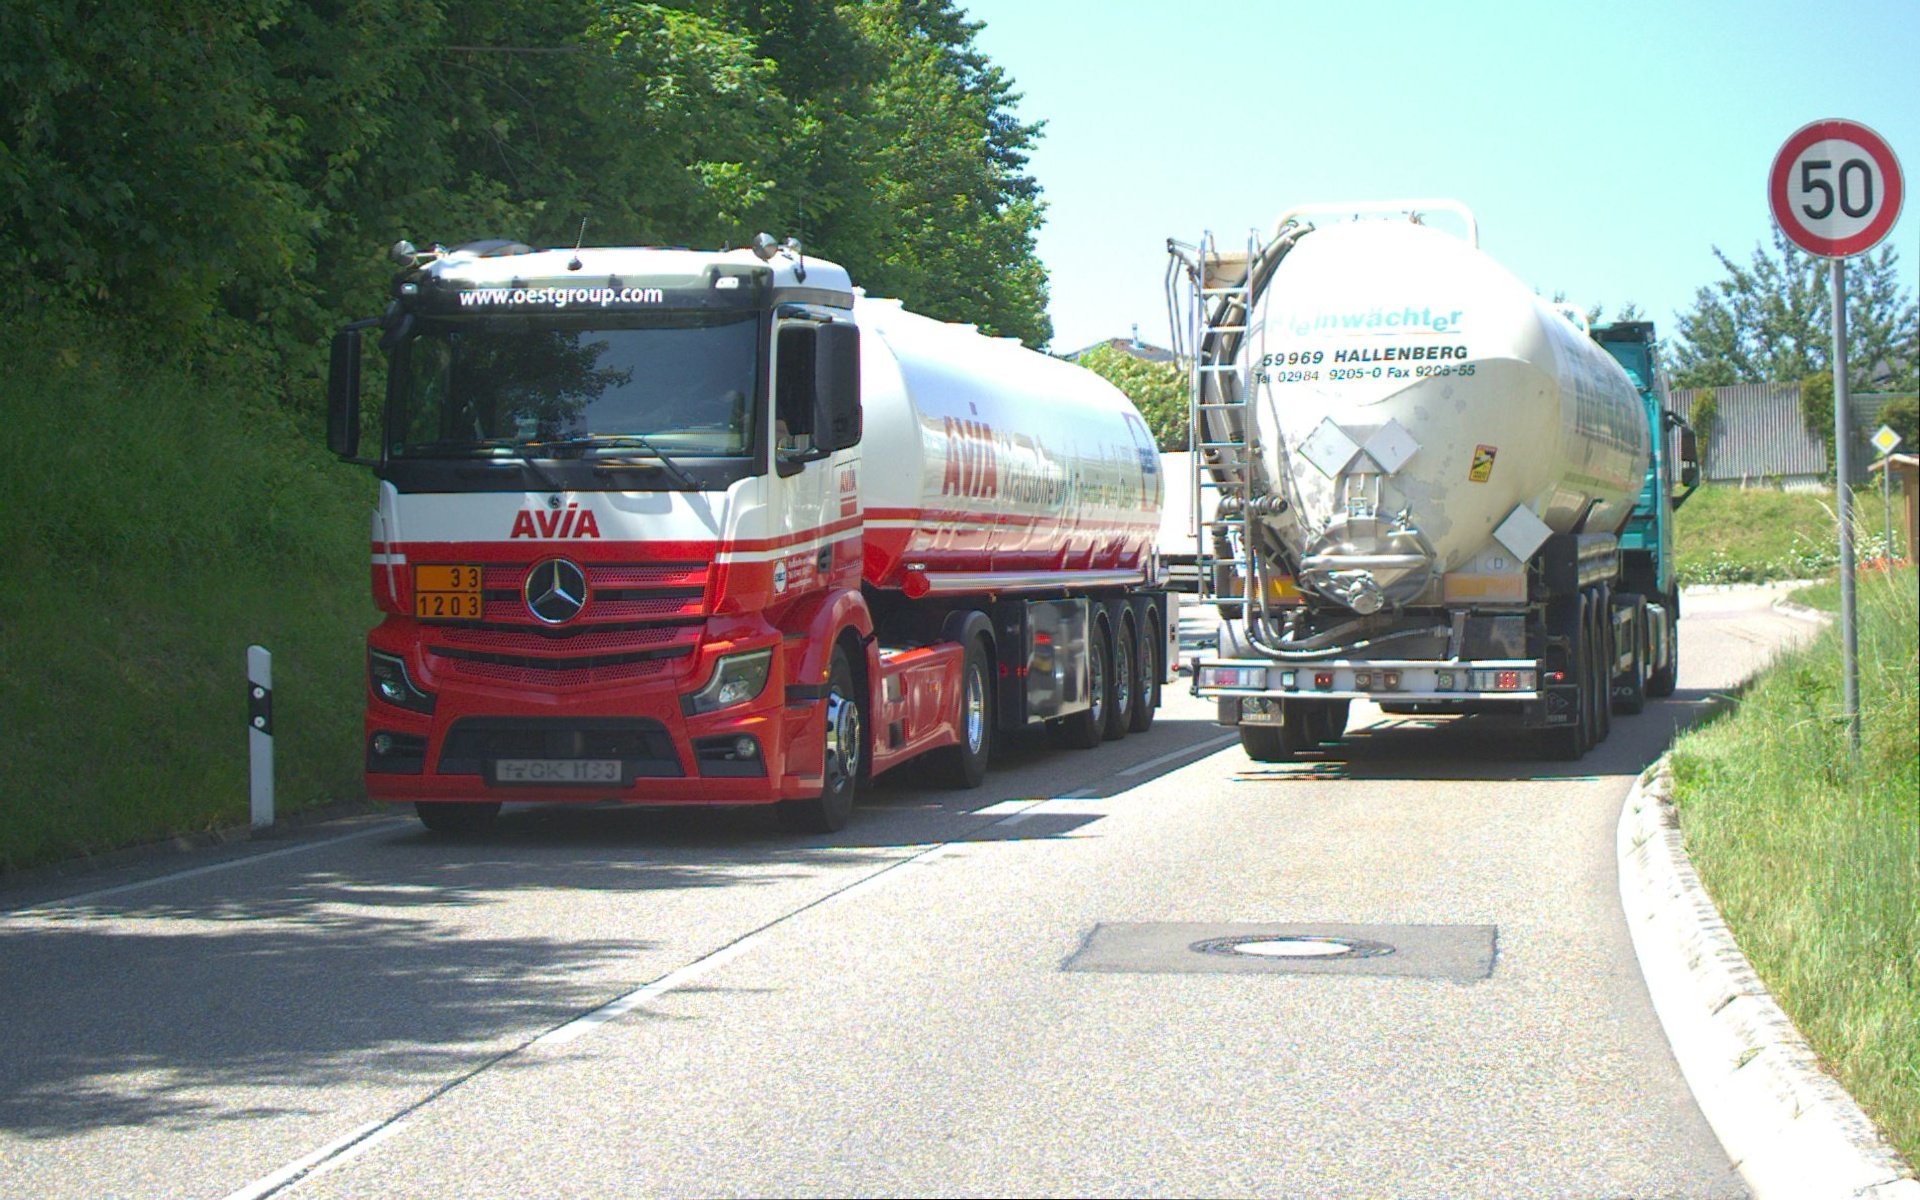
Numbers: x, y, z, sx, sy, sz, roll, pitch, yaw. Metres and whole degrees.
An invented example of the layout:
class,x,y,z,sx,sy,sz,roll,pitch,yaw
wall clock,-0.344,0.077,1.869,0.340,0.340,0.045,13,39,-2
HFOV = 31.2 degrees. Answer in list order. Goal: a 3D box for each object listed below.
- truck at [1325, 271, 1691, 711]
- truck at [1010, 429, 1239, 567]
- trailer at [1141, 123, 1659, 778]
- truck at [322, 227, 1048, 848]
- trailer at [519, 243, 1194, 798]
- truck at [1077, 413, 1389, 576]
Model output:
class,x,y,z,sx,sy,sz,roll,pitch,yaw
truck,5.652,-0.980,34.436,2.729,3.916,7.257,-1,0,16
truck,4.850,-3.061,103.460,3.190,3.920,8.253,1,1,-26
trailer,3.999,-1.025,28.028,2.663,4.174,11.896,-1,1,14
truck,-1.358,-0.344,21.217,2.627,3.159,7.065,0,0,11
trailer,-0.290,-0.530,26.522,2.634,3.361,11.137,0,1,12
truck,7.575,-2.992,98.064,3.190,4.295,11.802,1,1,-26
